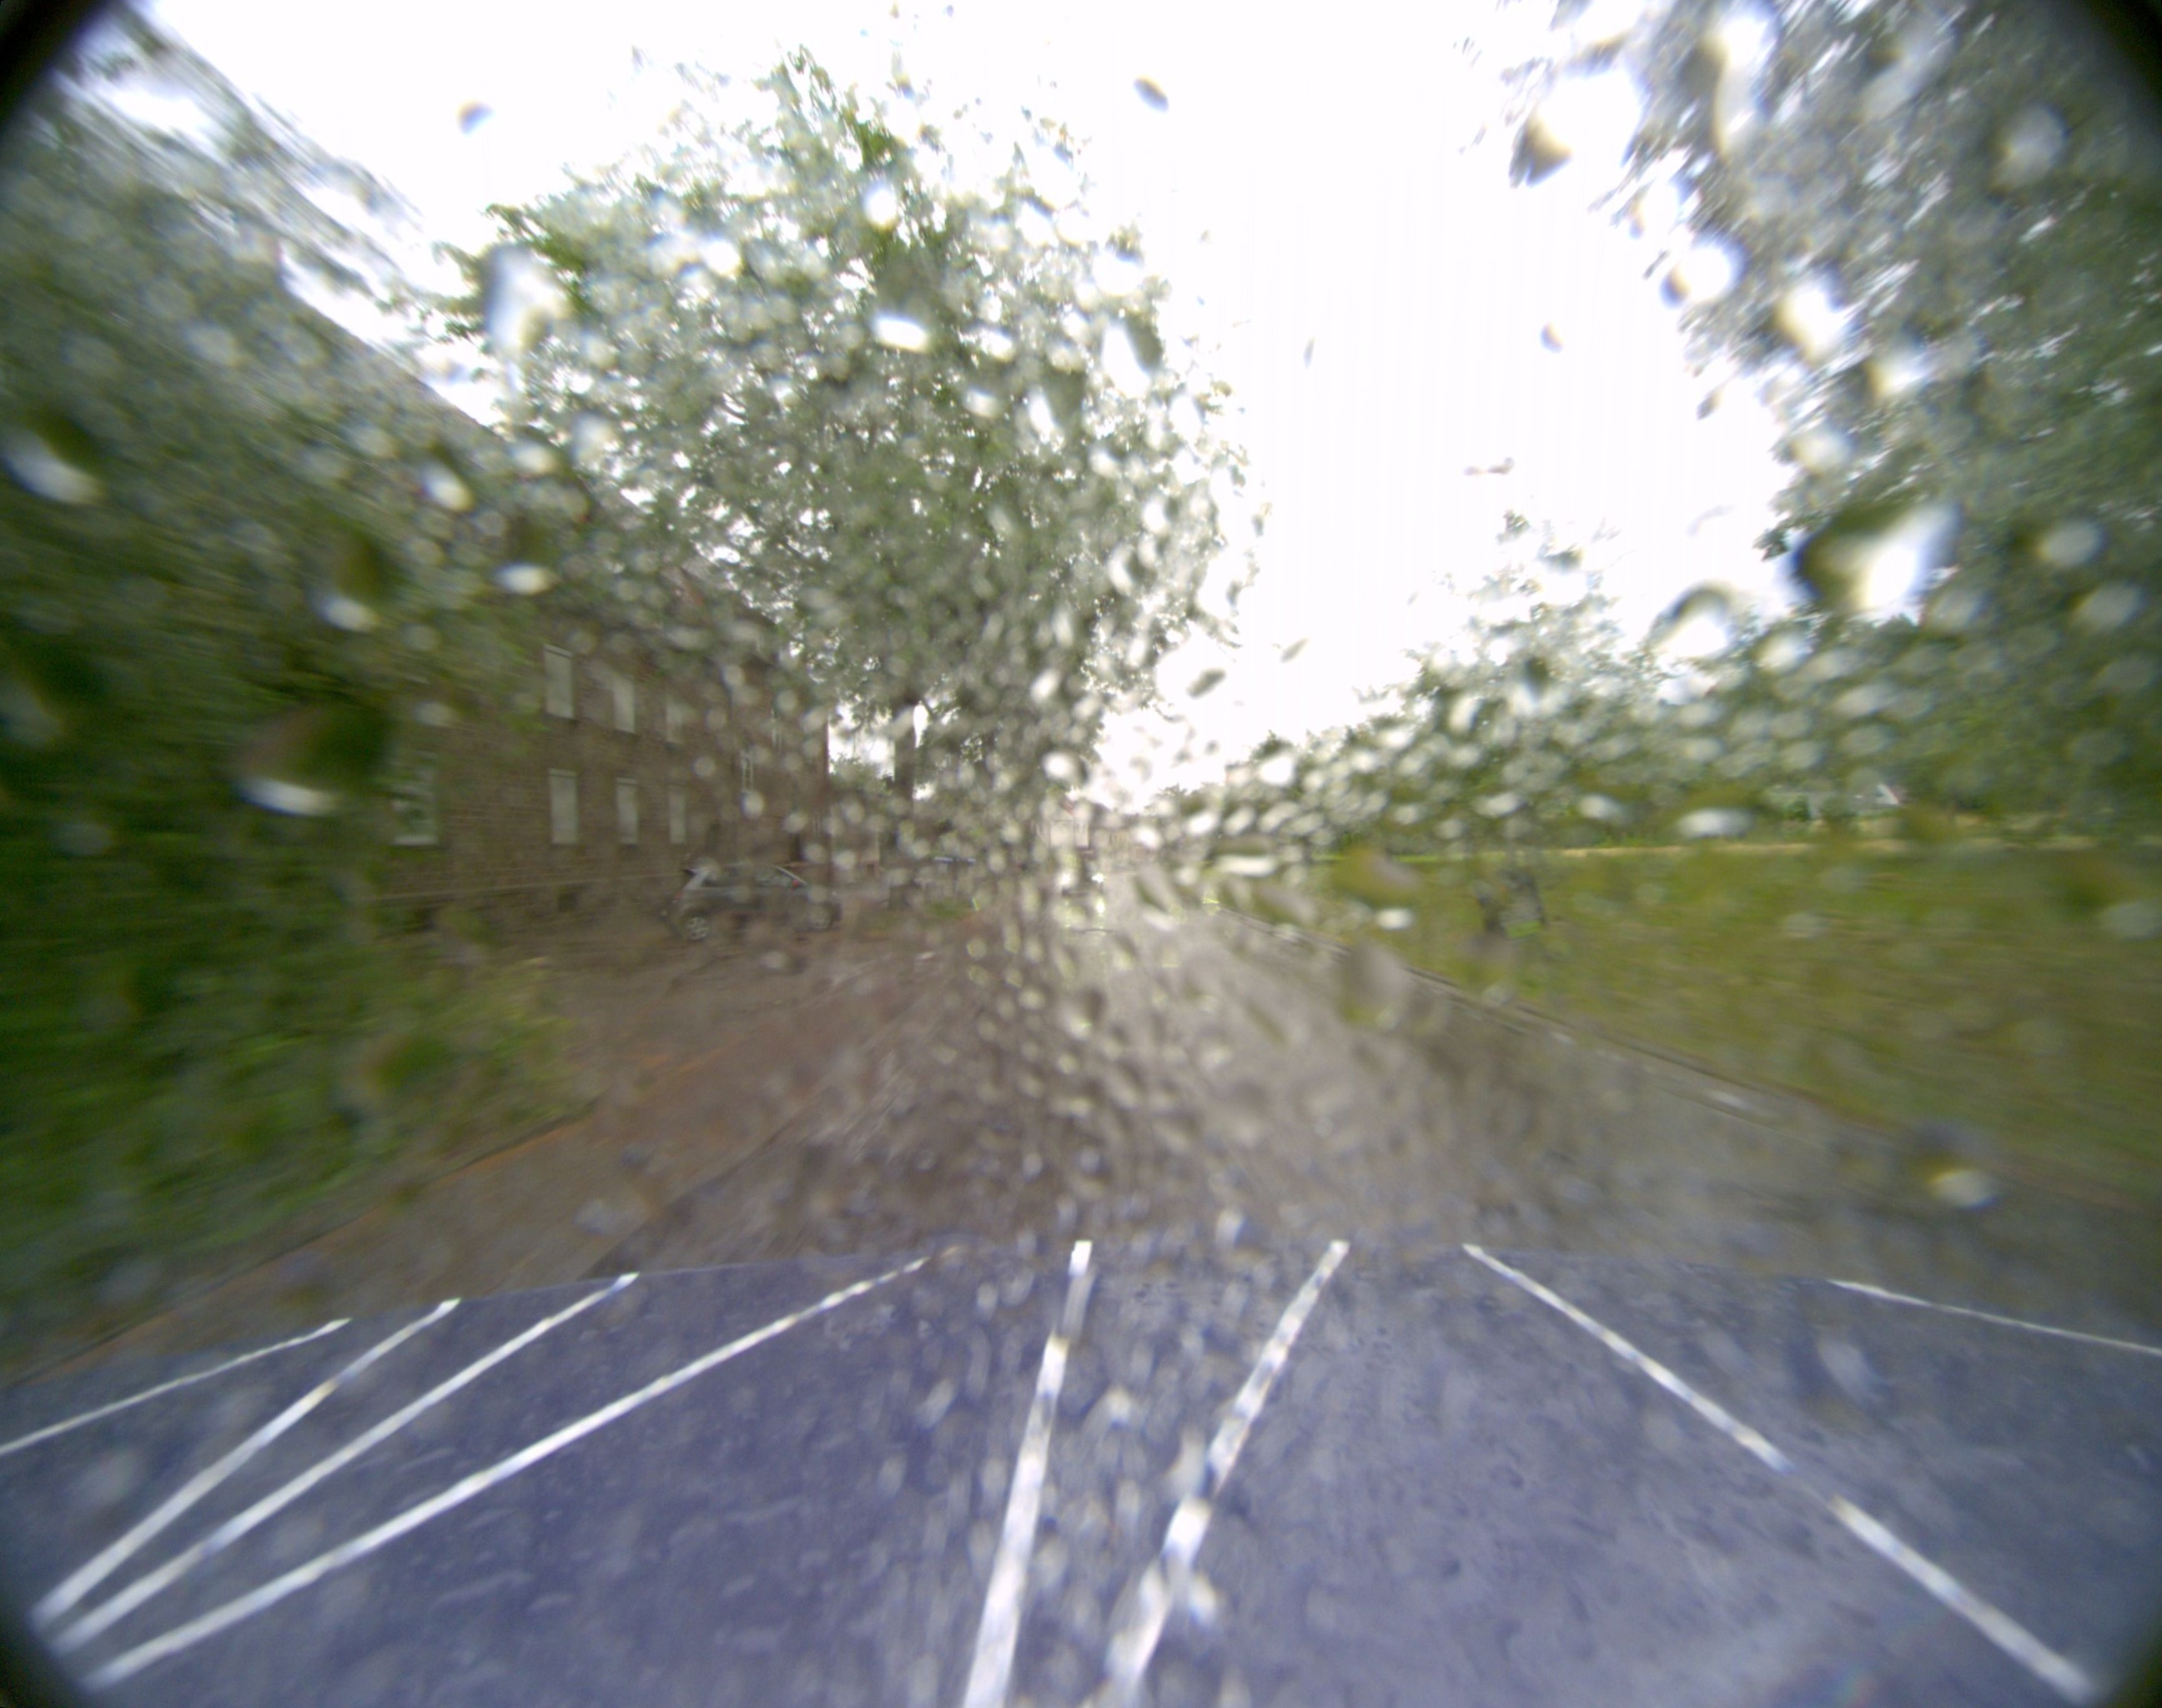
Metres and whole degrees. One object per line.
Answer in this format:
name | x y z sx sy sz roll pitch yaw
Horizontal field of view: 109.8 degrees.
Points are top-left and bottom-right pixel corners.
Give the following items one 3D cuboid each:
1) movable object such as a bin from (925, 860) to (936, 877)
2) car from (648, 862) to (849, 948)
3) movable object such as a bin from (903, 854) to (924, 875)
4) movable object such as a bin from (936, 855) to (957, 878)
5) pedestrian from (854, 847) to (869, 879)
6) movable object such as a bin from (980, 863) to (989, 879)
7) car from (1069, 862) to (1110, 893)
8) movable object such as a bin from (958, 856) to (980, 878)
movable object such as a bin | -10.005 0.981 50.477 0.568 1.073 0.530 2 1 -1
car | -7.059 1.002 16.279 3.620 1.542 1.617 -1 1 -38
movable object such as a bin | -11.116 0.691 50.400 1.151 1.335 0.795 3 1 -1
movable object such as a bin | -8.935 0.817 50.504 1.238 1.428 0.795 3 1 -2
pedestrian | -12.323 0.507 42.651 0.536 1.744 0.867 0 0 0
movable object such as a bin | -6.425 1.153 50.475 0.538 1.017 0.463 2 1 -1
car | 0.348 1.041 34.505 1.667 1.290 3.518 -2 -1 -2
movable object such as a bin | -7.413 0.871 50.399 1.296 1.410 0.795 3 1 -2
